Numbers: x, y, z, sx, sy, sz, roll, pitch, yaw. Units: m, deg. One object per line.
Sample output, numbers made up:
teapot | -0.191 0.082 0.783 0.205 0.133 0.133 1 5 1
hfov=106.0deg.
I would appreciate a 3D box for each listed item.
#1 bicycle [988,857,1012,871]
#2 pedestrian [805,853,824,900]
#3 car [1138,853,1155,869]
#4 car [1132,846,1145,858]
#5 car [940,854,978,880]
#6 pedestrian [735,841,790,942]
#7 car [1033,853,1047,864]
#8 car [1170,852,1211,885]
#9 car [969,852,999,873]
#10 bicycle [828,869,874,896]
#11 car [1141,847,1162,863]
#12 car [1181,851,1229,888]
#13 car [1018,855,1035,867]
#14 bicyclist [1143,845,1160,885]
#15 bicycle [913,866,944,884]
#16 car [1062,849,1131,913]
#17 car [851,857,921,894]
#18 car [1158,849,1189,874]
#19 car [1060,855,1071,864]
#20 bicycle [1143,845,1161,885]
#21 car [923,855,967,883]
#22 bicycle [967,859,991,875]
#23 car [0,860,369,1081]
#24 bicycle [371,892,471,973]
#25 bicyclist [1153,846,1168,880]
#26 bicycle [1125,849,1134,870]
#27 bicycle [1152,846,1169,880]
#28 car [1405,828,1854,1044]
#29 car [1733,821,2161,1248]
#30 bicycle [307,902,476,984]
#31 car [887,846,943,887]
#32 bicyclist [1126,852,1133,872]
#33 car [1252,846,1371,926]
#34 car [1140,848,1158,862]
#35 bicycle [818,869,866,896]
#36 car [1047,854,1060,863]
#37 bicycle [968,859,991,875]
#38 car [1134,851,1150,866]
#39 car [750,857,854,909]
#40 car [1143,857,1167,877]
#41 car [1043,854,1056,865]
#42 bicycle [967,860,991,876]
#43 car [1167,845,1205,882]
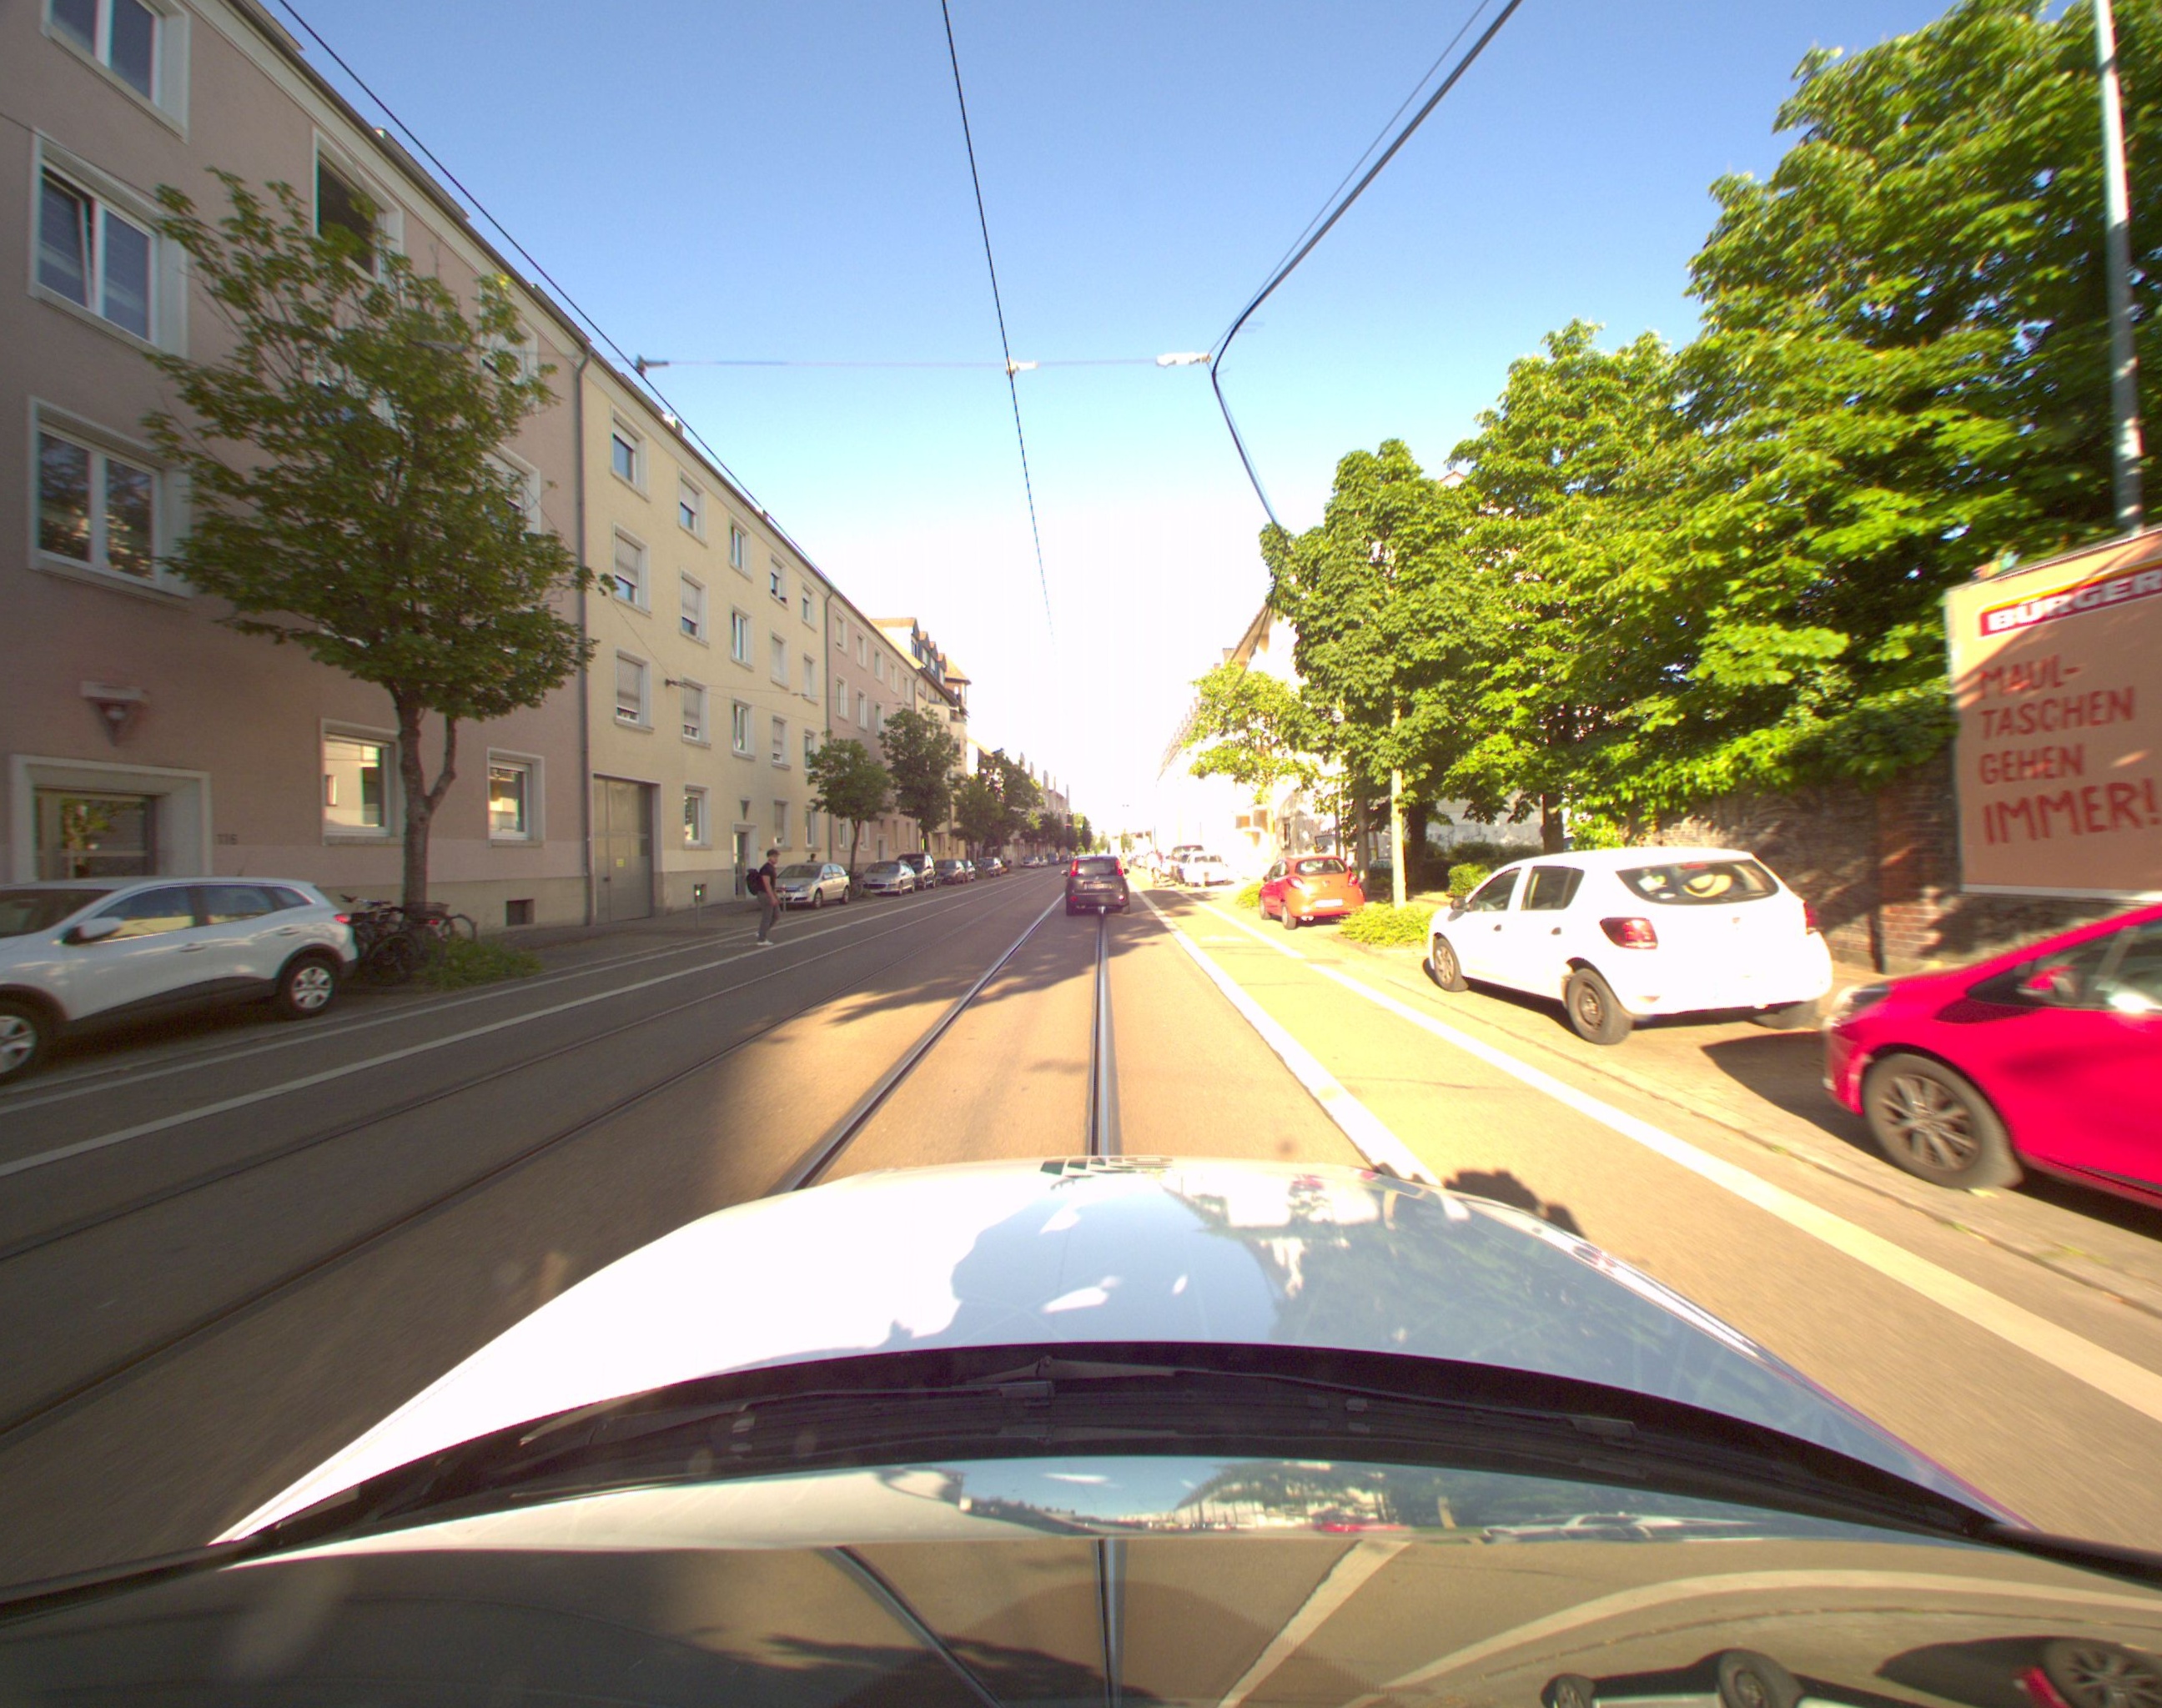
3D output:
bicycle | -7.790 0.951 78.202 2.271 1.288 0.756 0 0 -4
pedestrian | -10.423 0.881 31.858 0.534 1.826 0.543 0 0 1
car | 6.847 0.694 85.384 1.577 1.599 3.377 0 0 1
car | 7.956 -0.321 113.225 1.577 1.599 3.377 0 0 1
car | -7.973 0.829 53.650 1.802 1.619 4.065 0 0 1
pedestrian | -5.846 0.669 14.987 0.852 1.776 0.731 -2 0 -19
car | -5.683 0.562 113.009 1.700 1.496 3.724 0 0 2
car | 5.453 0.702 40.958 1.650 1.571 3.876 0 0 1
car | -7.580 0.627 63.911 1.828 1.556 4.000 0 0 1
bicycle | -8.960 1.107 31.718 1.666 1.001 0.475 0 0 -10
car | 6.289 0.085 72.626 1.577 1.405 3.377 0 0 1
car | 5.470 0.650 36.273 1.650 1.571 3.499 0 0 1
car | -6.543 0.843 98.484 1.700 1.496 3.724 0 0 2
bicyclist | 3.197 0.493 36.969 0.697 1.759 0.757 0 0 0
bicycle | -8.361 1.145 44.612 1.628 0.937 0.516 0 0 -3
car | 0.415 0.657 21.808 1.644 1.541 4.235 0 0 1
car | -8.315 0.875 35.162 1.802 1.508 4.682 0 0 1
car | 5.820 0.450 51.250 1.650 1.500 3.130 0 0 1
car | -2.652 0.915 142.616 1.700 1.496 3.724 0 0 2
bicycle | 3.223 0.493 36.971 0.673 1.747 2.158 0 0 1
car | -8.037 0.847 48.351 1.802 1.619 4.065 0 0 1
bicycle | -7.625 0.998 60.830 1.724 1.196 0.372 0 0 -3
car | -9.188 0.908 7.467 1.647 1.668 4.292 0 0 -3
bicycle | -10.085 1.172 12.493 0.327 1.101 1.440 0 0 1
bicyclist | 4.177 0.489 42.880 0.697 1.759 0.757 0 0 0
bicycle | 4.816 0.546 80.758 0.739 2.013 2.812 0 0 1
bicycle | 4.184 0.485 42.925 0.673 1.747 2.158 0 0 1
car | 4.863 0.615 8.037 1.684 1.530 3.999 -2 0 0
car | 4.720 0.626 2.794 1.684 1.530 3.998 -2 0 -1
bicycle | -9.314 1.190 11.025 1.917 1.046 0.477 0 0 2
car | -8.289 0.592 41.004 1.802 1.943 4.335 0 0 1
bicyclist | 4.812 0.802 80.960 0.712 2.013 0.832 0 0 0
car | 4.926 0.634 17.841 1.629 1.508 3.398 -3 0 1
car | 6.746 0.091 80.737 1.577 1.405 3.377 0 0 1
bicycle | -8.957 1.068 30.591 1.659 1.001 0.477 0 0 4
car | -4.205 0.687 126.737 1.700 1.496 3.724 0 0 2
bicycle | -7.698 0.970 61.641 1.724 1.196 0.372 0 0 -3
car | 6.937 0.501 93.136 1.577 1.599 3.377 0 0 1
car | -8.875 0.869 26.304 1.802 1.508 4.192 0 0 1
car | 5.971 1.017 65.918 1.577 1.405 3.377 -4 0 1
car | -4.632 0.787 120.675 1.700 1.496 3.724 0 0 2
bicycle | -7.665 1.027 61.226 1.724 1.196 0.372 0 0 -3
car | 5.869 0.519 46.074 1.650 1.944 4.665 0 0 1
